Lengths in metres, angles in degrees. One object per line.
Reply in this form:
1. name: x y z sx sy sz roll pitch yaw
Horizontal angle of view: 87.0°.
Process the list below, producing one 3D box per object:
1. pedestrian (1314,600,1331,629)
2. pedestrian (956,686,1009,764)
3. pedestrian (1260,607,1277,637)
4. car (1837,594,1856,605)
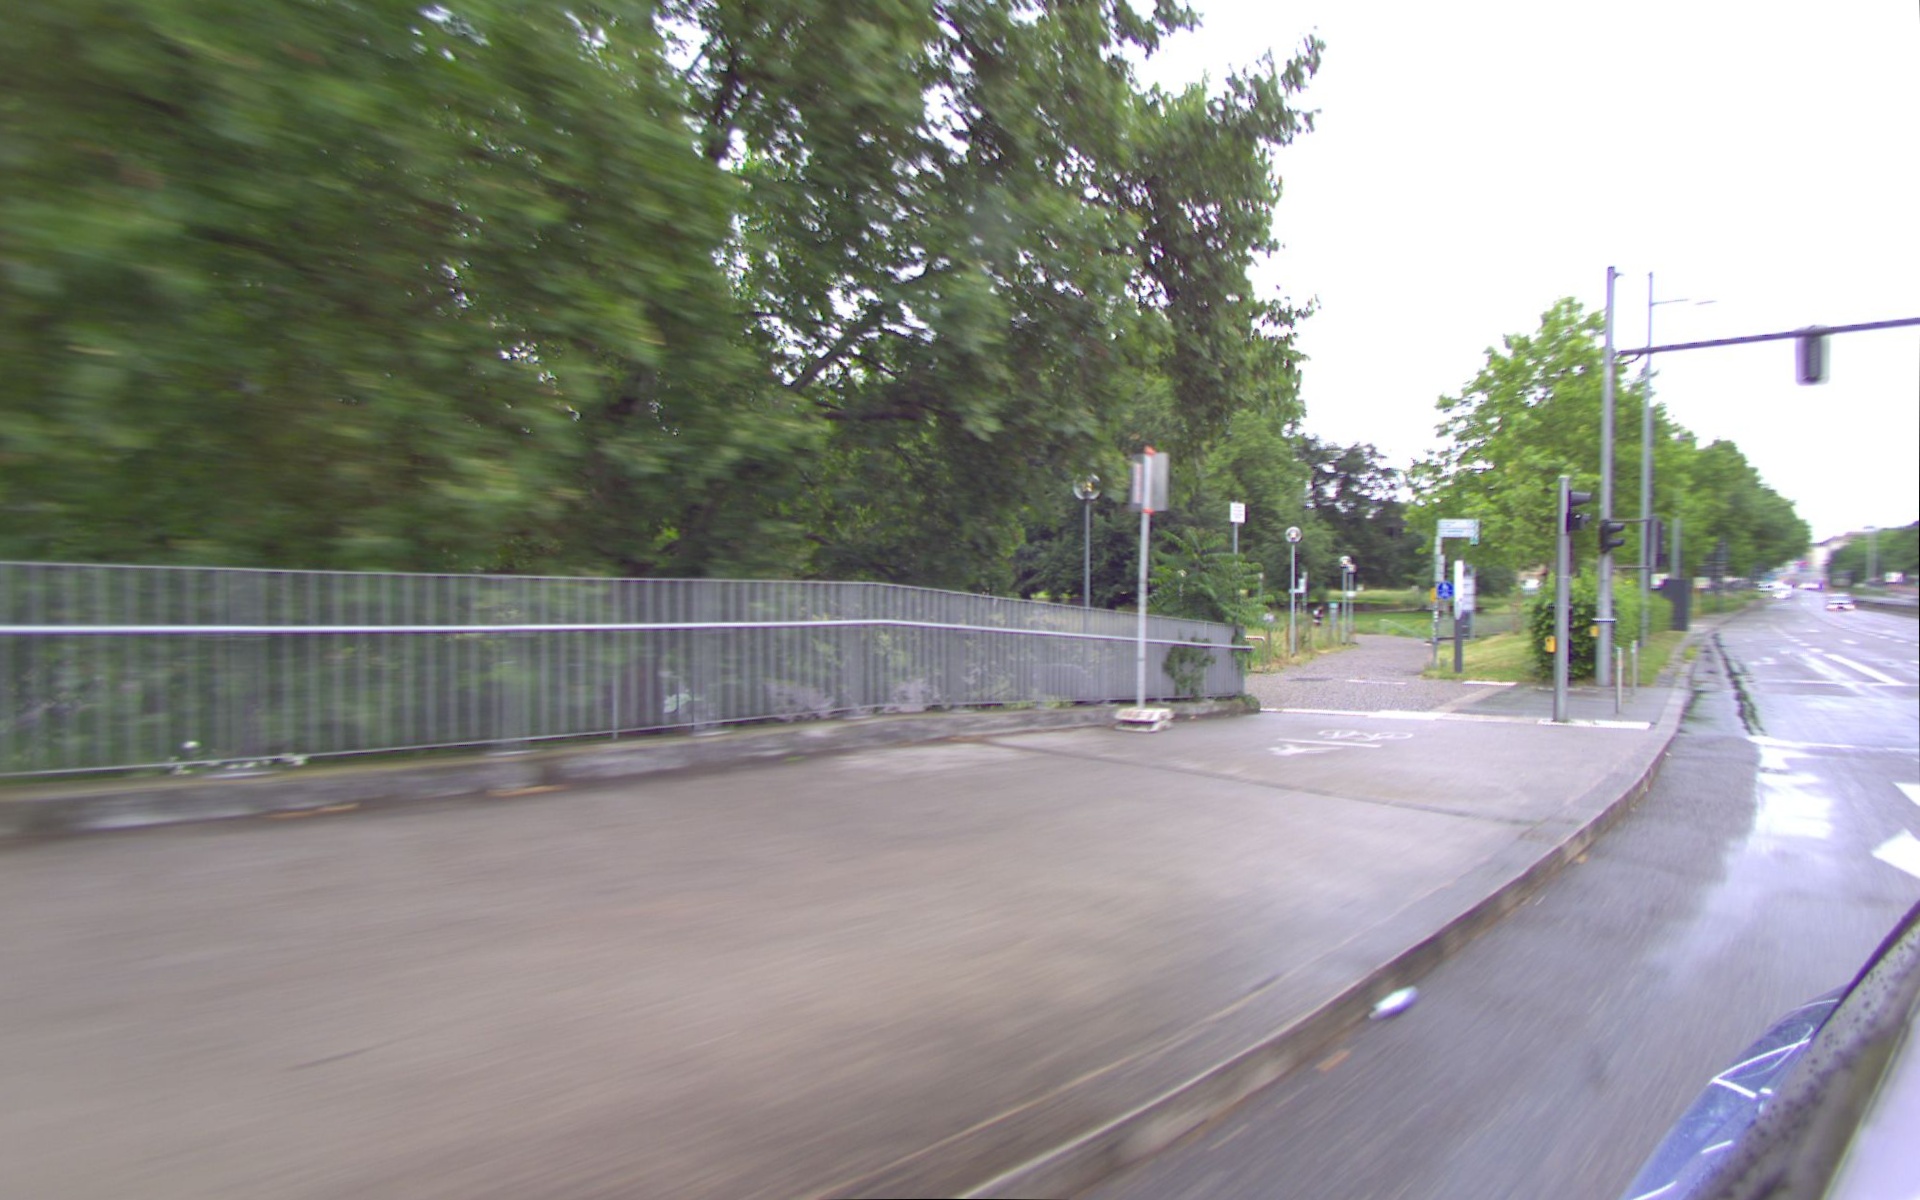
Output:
1. pedestrian: 20.431 0.810 57.025 0.714 1.588 0.671 -1 1 -43
2. pedestrian: 0.605 3.312 27.060 1.010 1.875 0.946 -1 1 -42
3. pedestrian: 16.910 1.212 55.457 0.713 1.588 0.672 -1 0 6
4. car: 94.960 -0.059 108.366 1.513 1.159 2.719 0 1 42
